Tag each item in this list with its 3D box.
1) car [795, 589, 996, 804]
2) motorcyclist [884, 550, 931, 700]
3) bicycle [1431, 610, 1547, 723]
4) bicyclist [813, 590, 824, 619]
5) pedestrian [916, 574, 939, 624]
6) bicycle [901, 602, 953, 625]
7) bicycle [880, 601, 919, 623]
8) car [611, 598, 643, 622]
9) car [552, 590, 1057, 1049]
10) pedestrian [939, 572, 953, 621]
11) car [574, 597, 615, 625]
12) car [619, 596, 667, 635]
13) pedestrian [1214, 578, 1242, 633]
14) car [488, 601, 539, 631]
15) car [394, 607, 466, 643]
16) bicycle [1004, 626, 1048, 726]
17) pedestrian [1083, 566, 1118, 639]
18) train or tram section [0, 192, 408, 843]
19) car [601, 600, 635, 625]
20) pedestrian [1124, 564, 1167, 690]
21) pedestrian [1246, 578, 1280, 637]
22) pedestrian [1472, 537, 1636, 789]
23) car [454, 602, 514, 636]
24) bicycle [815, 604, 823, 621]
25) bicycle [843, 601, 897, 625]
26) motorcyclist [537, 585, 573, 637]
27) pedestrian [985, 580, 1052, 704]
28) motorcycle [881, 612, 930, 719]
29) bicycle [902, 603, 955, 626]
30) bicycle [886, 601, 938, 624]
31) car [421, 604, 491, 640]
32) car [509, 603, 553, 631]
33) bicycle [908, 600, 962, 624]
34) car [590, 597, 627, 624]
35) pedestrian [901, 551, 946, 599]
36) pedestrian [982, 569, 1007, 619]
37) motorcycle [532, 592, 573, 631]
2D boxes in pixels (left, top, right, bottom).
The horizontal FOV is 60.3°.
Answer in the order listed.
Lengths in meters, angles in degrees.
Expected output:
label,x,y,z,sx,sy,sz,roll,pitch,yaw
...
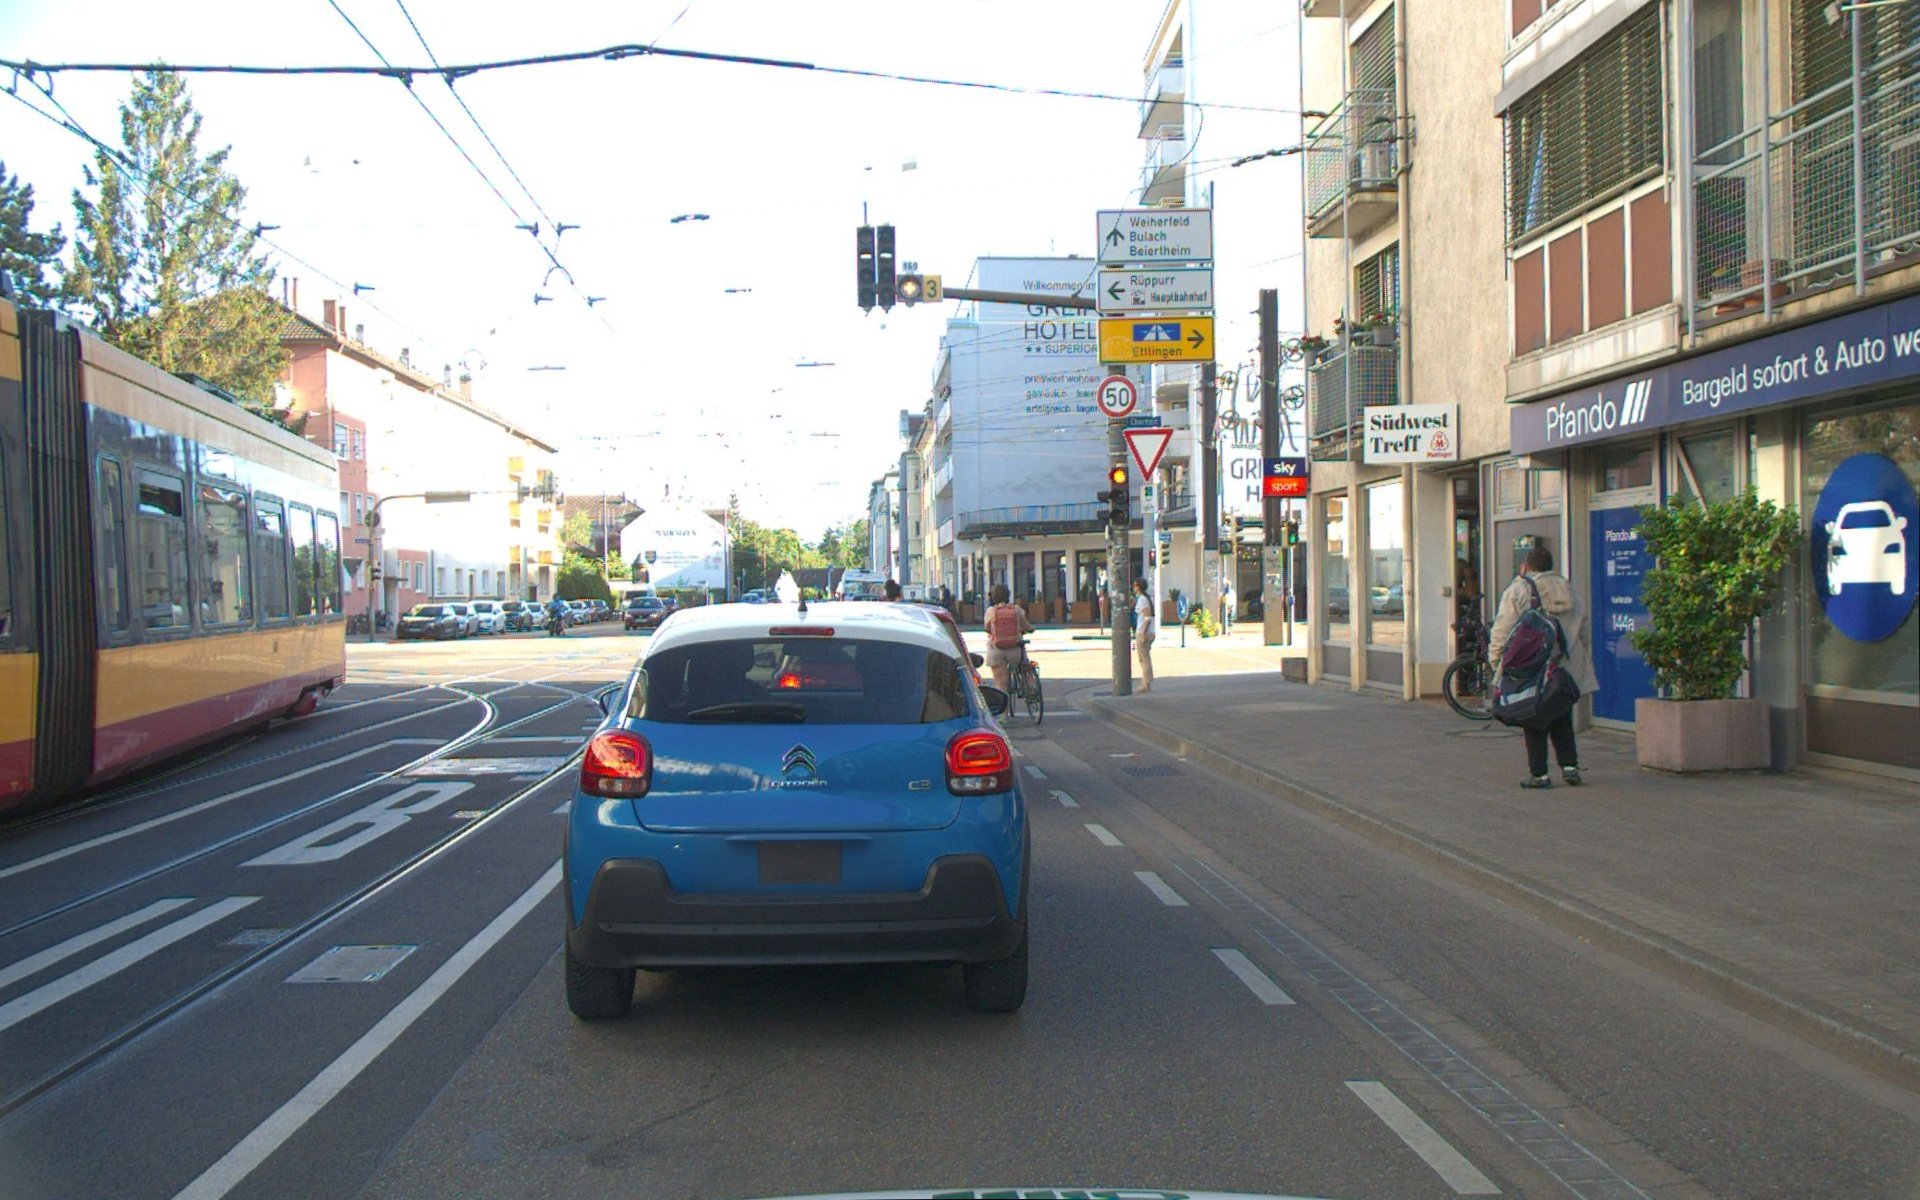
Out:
label,x,y,z,sx,sy,sz,roll,pitch,yaw
car,-0.475,0.693,13.176,1.395,1.493,2.923,-1,0,-1
motorcyclist,-0.617,0.293,19.614,0.516,1.746,0.717,1,-1,-1
bicycle,5.039,0.608,15.834,0.531,1.016,1.705,1,0,-1
bicyclist,-7.540,0.243,88.341,0.550,1.503,0.747,1,-1,-5
pedestrian,-1.356,-0.046,69.175,0.625,2.049,0.715,1,-1,-37
bicycle,-1.362,0.540,67.625,2.093,0.917,0.366,1,-1,-10
bicycle,-2.532,0.493,69.276,1.751,0.917,0.365,1,-1,34
car,-24.325,0.715,120.866,1.809,1.716,3.871,1,0,-4
car,-0.528,0.724,7.154,1.620,1.469,3.522,1,0,-1
pedestrian,-0.601,-0.149,70.270,0.565,2.049,0.625,1,-1,-3
car,-23.351,0.703,105.809,1.944,1.716,3.997,1,0,-4
car,-14.563,0.693,76.162,1.740,1.695,3.853,1,0,-4
pedestrian,8.067,0.170,49.787,0.721,1.629,0.749,1,-1,1
car,-23.091,0.817,85.666,1.750,1.524,3.997,1,0,-4
car,-21.911,1.013,68.483,1.757,1.446,3.994,1,0,-2
bicycle,0.807,0.909,20.471,0.419,1.142,1.998,1,0,-1
pedestrian,3.986,0.078,46.993,0.907,2.049,0.759,1,-1,-1
train or tram section,-7.787,-0.471,15.381,2.694,3.695,14.234,1,0,-9
car,-24.002,0.858,116.282,1.797,1.716,3.997,1,0,-4
pedestrian,2.714,0.399,24.231,0.507,1.814,0.595,1,-1,-3
pedestrian,8.768,0.214,47.914,0.737,1.686,0.882,1,-1,-4
pedestrian,3.968,0.411,11.100,0.808,1.620,0.751,1,-1,-1
car,-22.588,0.885,78.610,1.751,1.537,4.148,1,0,-2
bicycle,-7.579,0.665,88.831,0.342,0.919,1.858,1,0,-2
bicycle,-3.603,0.535,66.142,2.093,0.917,0.366,1,-1,-10
motorcyclist,-16.415,0.440,66.995,1.162,2.049,1.274,-1,0,-4
pedestrian,0.710,0.505,20.224,0.761,1.486,0.681,1,-1,-1
motorcycle,-0.625,0.734,19.424,0.515,1.159,2.289,1,0,-1
bicycle,-1.279,0.580,67.218,2.093,0.917,0.366,1,-1,-10
bicycle,-1.971,0.511,68.306,2.093,0.917,0.366,1,-1,-10
car,-22.204,0.957,73.009,1.778,1.524,4.299,1,0,-1
car,-23.733,0.921,91.657,1.699,1.524,3.996,1,0,-5
bicycle,-0.991,0.492,65.884,2.093,0.917,0.366,1,-1,-10
car,-23.507,0.686,110.780,1.845,1.716,3.997,1,0,-4
pedestrian,-1.607,-1.074,73.532,1.953,2.049,3.999,1,0,-1
pedestrian,1.417,-0.236,67.963,0.704,2.049,0.749,1,-1,-38
motorcycle,-16.400,0.473,66.621,0.905,1.512,3.723,1,0,-4
